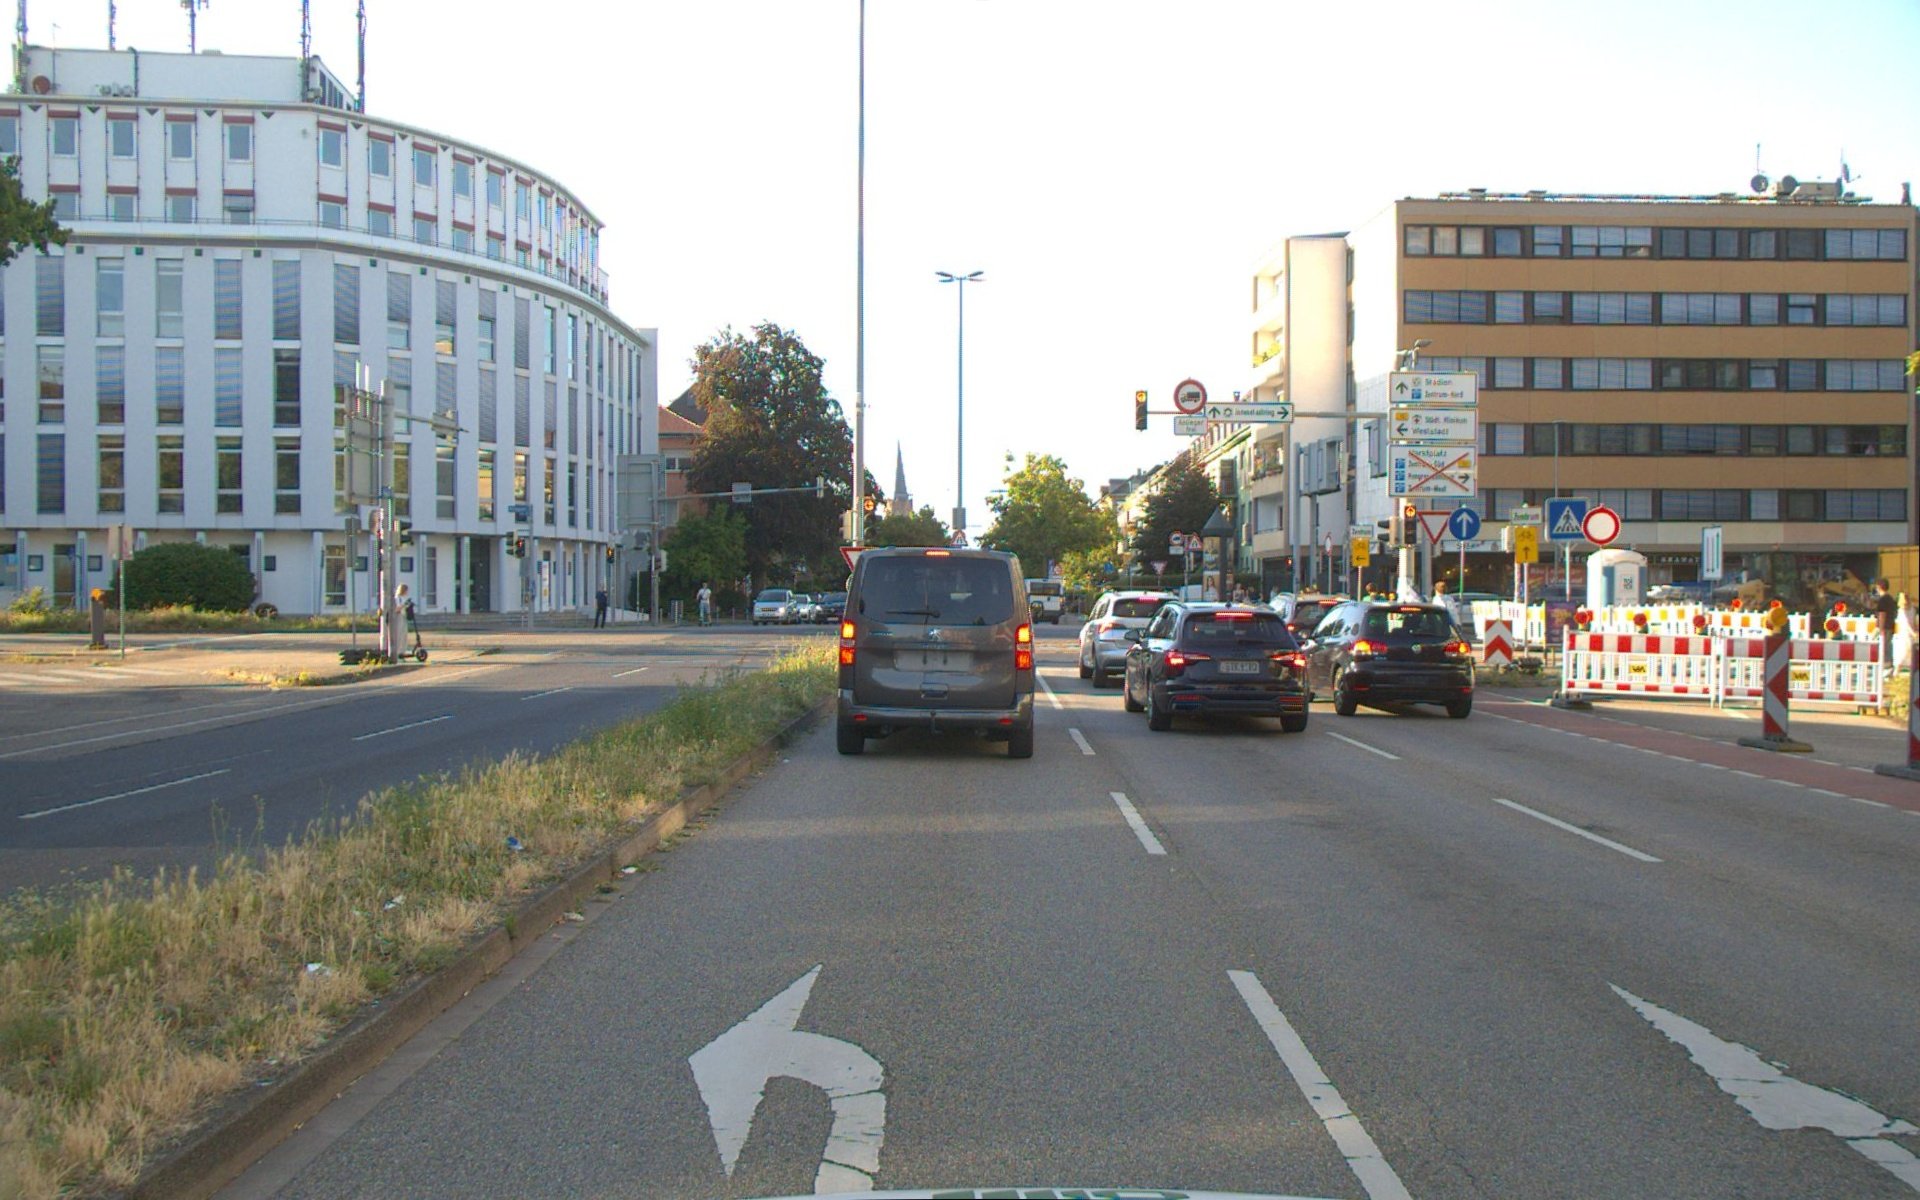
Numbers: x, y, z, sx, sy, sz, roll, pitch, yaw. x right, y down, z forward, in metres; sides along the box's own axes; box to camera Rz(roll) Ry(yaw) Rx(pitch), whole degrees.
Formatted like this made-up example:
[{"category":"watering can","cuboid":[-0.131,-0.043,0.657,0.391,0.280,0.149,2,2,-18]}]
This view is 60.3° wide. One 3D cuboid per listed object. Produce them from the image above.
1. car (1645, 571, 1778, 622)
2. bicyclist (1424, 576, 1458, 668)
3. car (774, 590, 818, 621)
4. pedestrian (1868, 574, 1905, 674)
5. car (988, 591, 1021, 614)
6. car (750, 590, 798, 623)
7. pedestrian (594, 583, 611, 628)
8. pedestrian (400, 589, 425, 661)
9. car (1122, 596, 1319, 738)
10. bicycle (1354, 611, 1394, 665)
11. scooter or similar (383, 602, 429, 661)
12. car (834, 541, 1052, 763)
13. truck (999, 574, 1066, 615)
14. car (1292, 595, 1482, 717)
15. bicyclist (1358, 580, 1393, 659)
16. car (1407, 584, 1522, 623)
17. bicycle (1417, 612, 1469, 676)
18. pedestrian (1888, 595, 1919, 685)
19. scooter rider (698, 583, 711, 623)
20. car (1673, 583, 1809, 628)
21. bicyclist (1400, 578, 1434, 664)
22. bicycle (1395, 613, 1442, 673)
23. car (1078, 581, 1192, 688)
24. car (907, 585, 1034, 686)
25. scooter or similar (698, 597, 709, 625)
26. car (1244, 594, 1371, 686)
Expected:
[{"category":"car","cuboid":[28.324,-0.144,62.433,4.129,1.849,2.000,0,0,0]},{"category":"bicyclist","cuboid":[8.158,0.365,28.083,0.432,1.552,0.482,0,0,0]},{"category":"car","cuboid":[-7.995,0.238,80.834,1.818,1.445,3.999,0,0,-1]},{"category":"pedestrian","cuboid":[17.438,0.440,31.141,0.479,1.866,0.567,0,0,44]},{"category":"car","cuboid":[3.304,0.182,122.573,1.955,1.691,3.995,0,0,-5]},{"category":"car","cuboid":[-8.445,0.286,75.355,1.818,1.445,3.999,0,0,-1]},{"category":"pedestrian","cuboid":[-13.865,0.201,64.126,0.615,1.752,0.669,0,0,-14]},{"category":"pedestrian","cuboid":[-11.817,0.534,35.688,0.466,1.532,0.334,0,0,-12]},{"category":"car","cuboid":[2.966,0.700,19.602,1.647,1.446,4.214,1,0,0]},{"category":"bicycle","cuboid":[8.285,0.745,33.130,0.329,1.025,1.856,0,0,0]},{"category":"scooter or similar","cuboid":[-11.869,0.664,35.433,0.877,1.255,0.370,0,0,-11]},{"category":"car","cuboid":[-0.145,0.437,16.750,1.868,1.896,4.526,1,0,0]},{"category":"truck","cuboid":[3.794,-0.299,87.377,2.094,2.123,4.609,0,0,-17]},{"category":"car","cuboid":[5.734,0.700,22.633,1.600,1.474,3.745,1,0,0]},{"category":"bicyclist","cuboid":[8.329,0.385,33.177,0.502,1.552,0.725,0,0,0]},{"category":"car","cuboid":[19.483,0.120,63.931,3.910,1.445,1.785,0,0,-6]},{"category":"bicycle","cuboid":[8.172,0.725,28.021,0.329,1.025,1.856,0,0,0]},{"category":"pedestrian","cuboid":[18.116,0.753,31.687,0.599,1.700,0.447,0,0,-44]},{"category":"scooter rider","cuboid":[-11.031,0.114,71.347,0.471,1.727,0.636,0,0,0]},{"category":"car","cuboid":[28.166,0.196,59.681,4.261,1.576,1.783,0,0,-11]},{"category":"bicyclist","cuboid":[8.355,0.377,30.241,0.432,1.552,0.725,0,0,0]},{"category":"bicycle","cuboid":[8.348,0.769,30.160,0.329,1.025,1.856,0,0,0]},{"category":"car","cuboid":[2.885,0.524,27.874,1.497,1.641,3.745,1,0,0]},{"category":"car","cuboid":[0.160,0.529,27.376,1.953,1.557,4.000,0,0,0]},{"category":"scooter or similar","cuboid":[-11.023,0.474,71.193,0.279,1.209,1.169,0,0,0]},{"category":"car","cuboid":[5.896,0.643,28.361,1.474,1.474,3.305,0,0,0]}]
